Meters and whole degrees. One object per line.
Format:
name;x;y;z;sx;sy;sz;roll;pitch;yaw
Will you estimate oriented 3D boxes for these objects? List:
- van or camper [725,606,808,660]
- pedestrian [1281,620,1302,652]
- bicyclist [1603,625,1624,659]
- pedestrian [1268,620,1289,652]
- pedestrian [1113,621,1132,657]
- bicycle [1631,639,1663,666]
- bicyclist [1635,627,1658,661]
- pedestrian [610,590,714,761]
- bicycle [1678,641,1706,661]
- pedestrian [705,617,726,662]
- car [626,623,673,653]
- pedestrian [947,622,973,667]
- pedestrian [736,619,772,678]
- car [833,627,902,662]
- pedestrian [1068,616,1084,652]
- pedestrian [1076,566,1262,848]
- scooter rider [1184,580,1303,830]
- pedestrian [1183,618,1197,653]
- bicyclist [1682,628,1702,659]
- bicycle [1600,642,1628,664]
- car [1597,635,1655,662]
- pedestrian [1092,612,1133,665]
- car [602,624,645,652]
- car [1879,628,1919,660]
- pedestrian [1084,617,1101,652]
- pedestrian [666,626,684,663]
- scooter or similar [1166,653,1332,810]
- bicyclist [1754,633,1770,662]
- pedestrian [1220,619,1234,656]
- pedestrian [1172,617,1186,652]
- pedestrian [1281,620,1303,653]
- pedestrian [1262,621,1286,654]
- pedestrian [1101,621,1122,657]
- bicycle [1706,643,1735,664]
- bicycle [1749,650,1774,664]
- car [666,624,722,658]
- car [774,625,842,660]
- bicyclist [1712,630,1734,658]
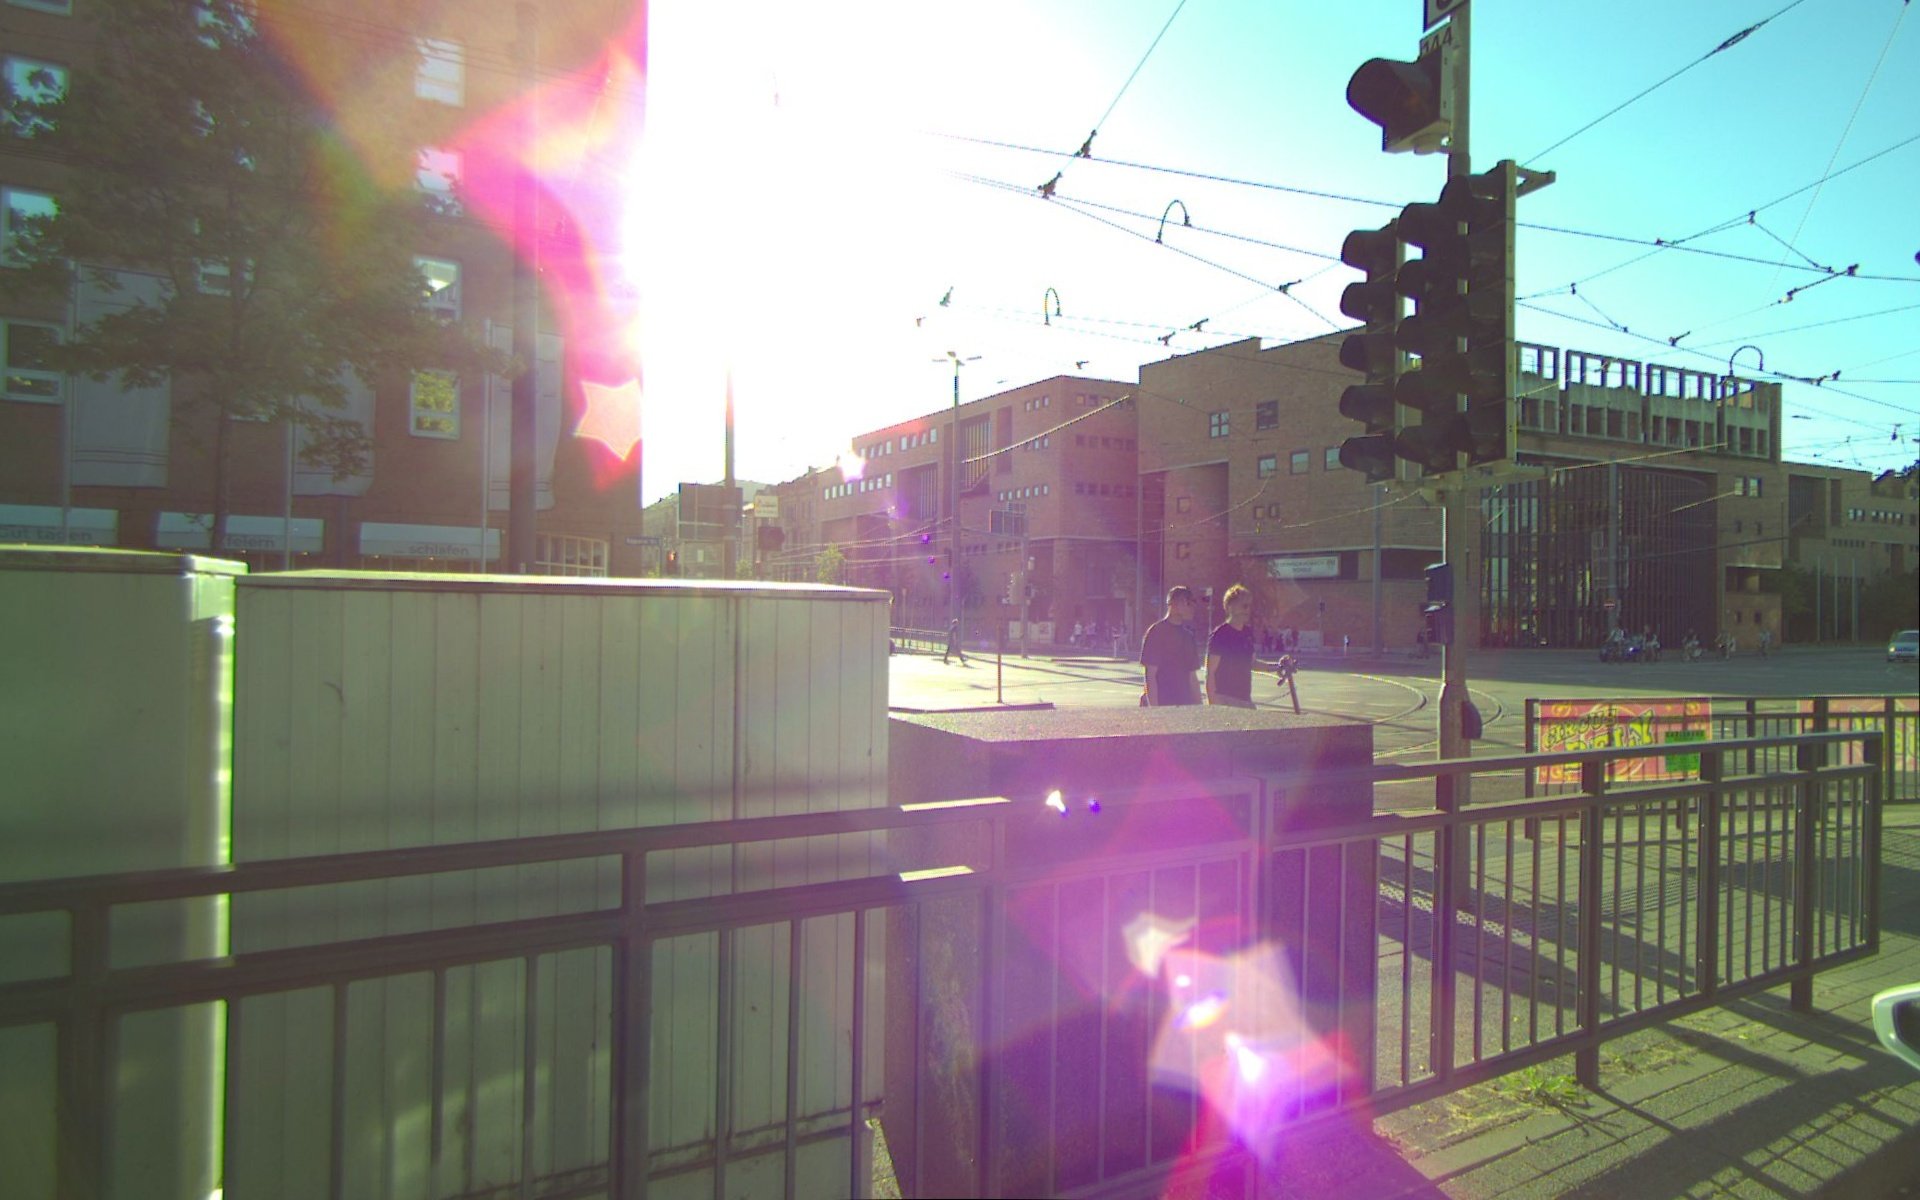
van or camper;-9.301;1.569;47.973;1.981;2.451;4.980;1;-2;-36
pedestrian;21.673;2.348;65.674;0.841;2.079;1.001;1;-1;-32
bicyclist;31.175;1.995;47.940;0.753;1.595;0.655;1;-2;-40
pedestrian;20.587;2.317;64.972;0.841;2.079;1.001;1;-1;-32
pedestrian;9.247;2.199;57.180;0.742;2.010;0.780;1;-1;-32
bicycle;32.344;2.474;47.296;2.092;1.157;0.679;-1;0;-39
bicyclist;32.313;2.071;47.277;0.752;1.581;0.676;1;-2;-39
pedestrian;-3.381;0.813;11.365;0.945;1.822;0.986;2;0;-26
bicycle;37.911;2.621;52.013;1.884;1.011;0.688;1;-2;-37
pedestrian;-11.167;1.788;45.876;0.597;2.040;0.848;1;-1;-38
car;-18.635;2.253;60.168;1.738;1.750;3.965;1;-2;-32
pedestrian;-0.001;1.820;41.276;0.797;1.801;0.623;2;0;-30
pedestrian;-6.317;1.491;30.843;0.860;1.775;0.670;1;-2;-39
car;-4.805;2.238;51.809;1.978;1.709;3.965;1;-2;-33
pedestrian;6.772;1.970;58.463;0.607;2.040;0.727;1;-1;-32
pedestrian;1.530;0.741;7.519;0.843;1.908;1.164;1;-1;-25
scooter rider;2.239;0.807;7.948;0.670;1.877;0.564;3;-2;-25
pedestrian;13.480;2.050;58.771;0.603;2.040;0.731;0;-1;30
bicyclist;37.905;2.228;51.985;0.752;1.590;0.656;1;-2;-37
bicycle;31.266;2.526;48.025;1.887;1.011;0.647;2;-2;-41
car;35.659;2.563;53.739;3.684;1.394;1.568;2;-2;-39
pedestrian;6.042;1.532;39.750;1.193;2.040;1.028;2;0;-30
car;-21.814;2.427;65.114;1.738;1.750;3.965;1;-2;-32
car;48.930;2.255;51.747;3.962;1.598;1.610;1;-2;-36
pedestrian;7.718;1.997;58.431;0.644;2.040;0.780;1;-1;-32
pedestrian;-14.473;2.248;50.975;0.597;1.843;0.848;1;-1;-38
scooter or similar;2.258;0.990;7.963;0.639;1.095;1.199;1;-1;-25
bicyclist;45.798;2.727;57.374;0.509;1.647;0.583;1;-1;-34
pedestrian;15.005;2.096;56.370;0.603;2.040;0.731;0;-1;30
pedestrian;12.881;2.036;59.120;0.603;2.040;0.731;0;-1;30
pedestrian;21.255;2.356;64.318;0.841;2.079;1.001;1;-1;-32
pedestrian;19.828;2.361;63.533;0.902;2.040;1.151;1;-1;-34
pedestrian;8.556;2.175;56.696;0.917;2.010;0.780;1;-1;-32
bicycle;40.947;2.870;54.070;1.993;1.064;0.647;2;-1;-35
bicycle;45.811;3.265;57.386;1.948;0.781;0.586;1;-2;-35
car;-14.370;2.189;54.141;1.739;1.750;3.963;1;-2;-33
car;-7.795;2.145;51.184;1.978;1.709;3.965;1;-2;-33
bicyclist;41.176;2.387;54.227;1.022;1.494;0.649;2;-1;-35
